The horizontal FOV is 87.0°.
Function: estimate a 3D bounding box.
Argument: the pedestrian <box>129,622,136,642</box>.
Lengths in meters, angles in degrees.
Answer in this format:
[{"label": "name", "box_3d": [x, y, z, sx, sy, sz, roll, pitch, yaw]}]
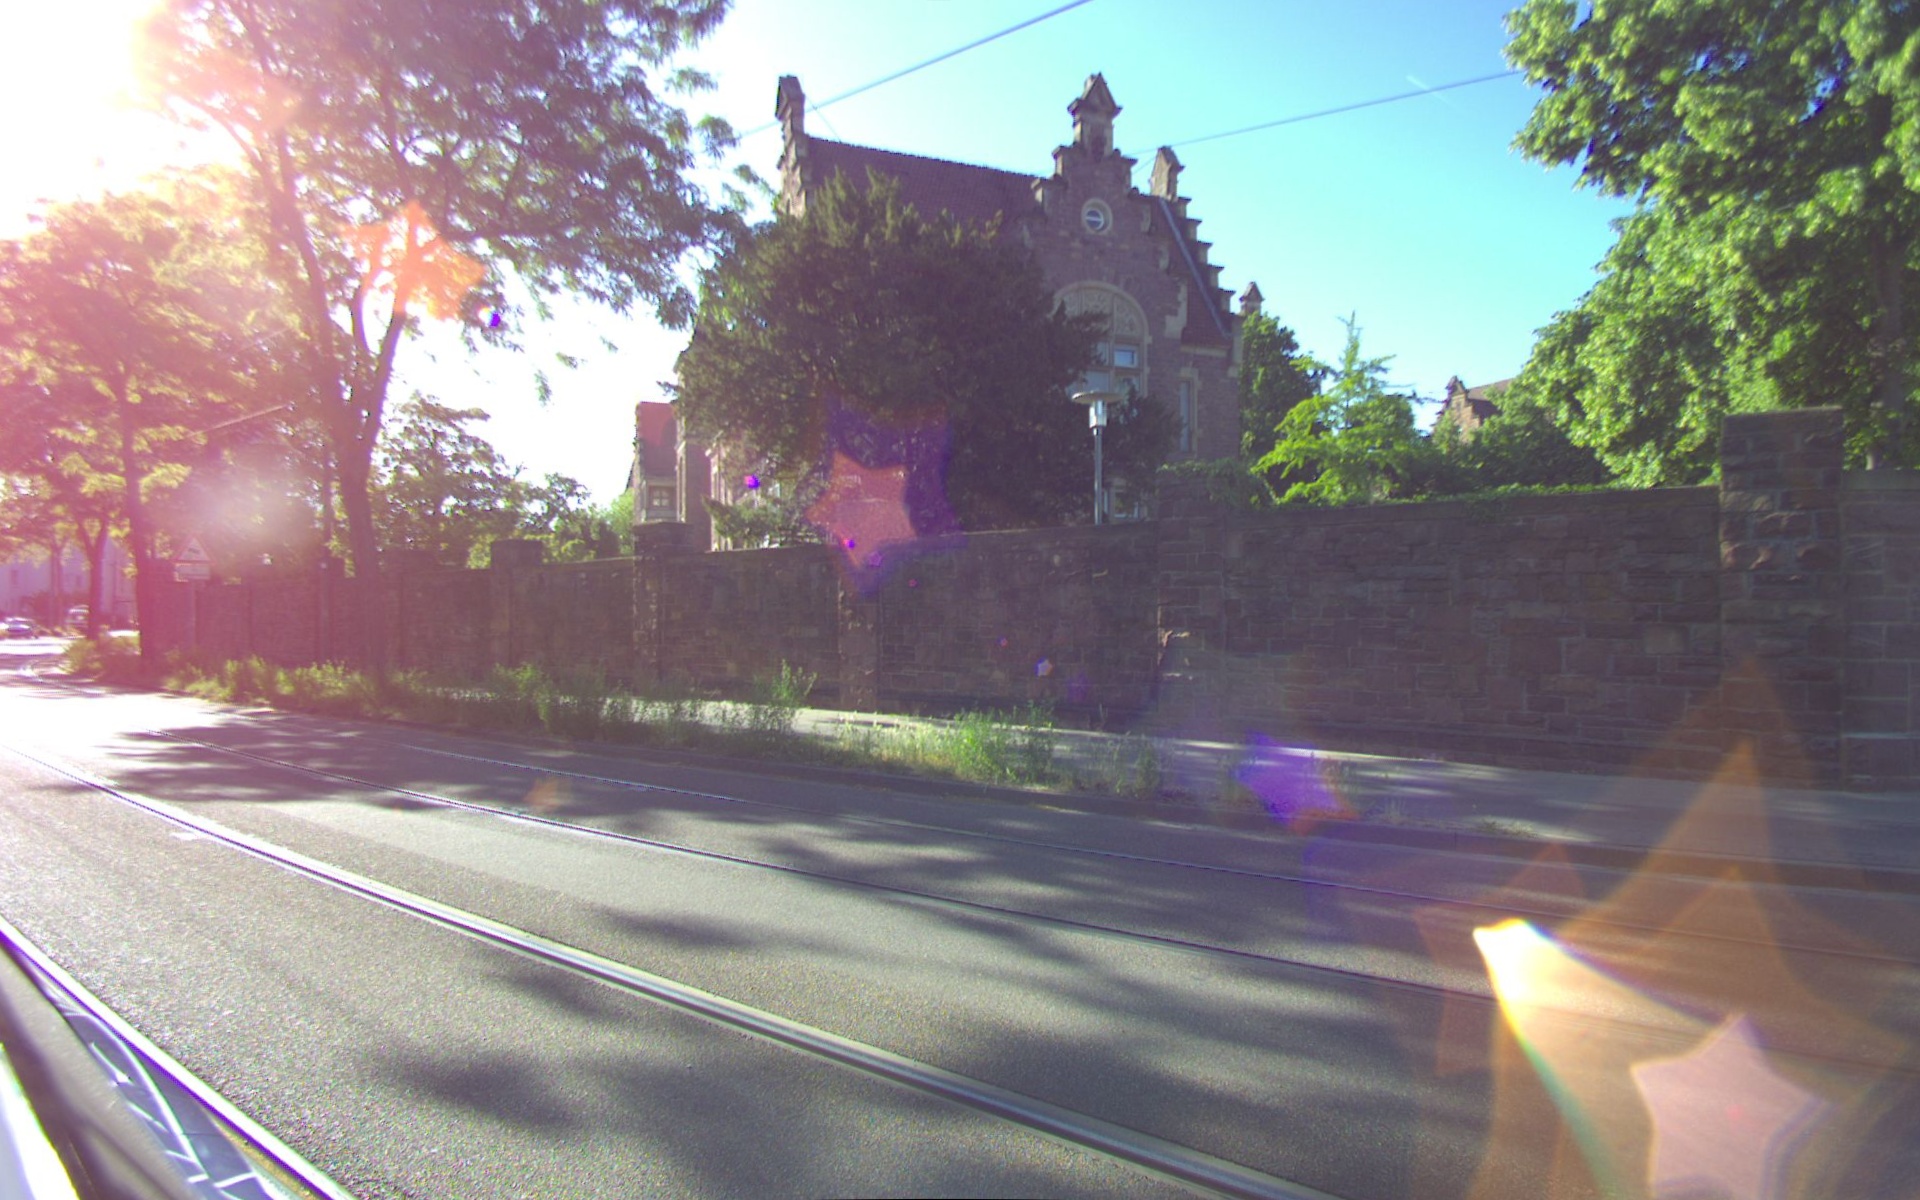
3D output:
[{"label": "pedestrian", "box_3d": [-79.190, 3.071, 96.832, 0.516, 1.847, 0.588, 0, -1, -34]}]

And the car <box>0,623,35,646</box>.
[{"label": "car", "box_3d": [-68.893, 2.506, 73.849, 1.969, 1.560, 4.005, 0, -1, -41]}]
